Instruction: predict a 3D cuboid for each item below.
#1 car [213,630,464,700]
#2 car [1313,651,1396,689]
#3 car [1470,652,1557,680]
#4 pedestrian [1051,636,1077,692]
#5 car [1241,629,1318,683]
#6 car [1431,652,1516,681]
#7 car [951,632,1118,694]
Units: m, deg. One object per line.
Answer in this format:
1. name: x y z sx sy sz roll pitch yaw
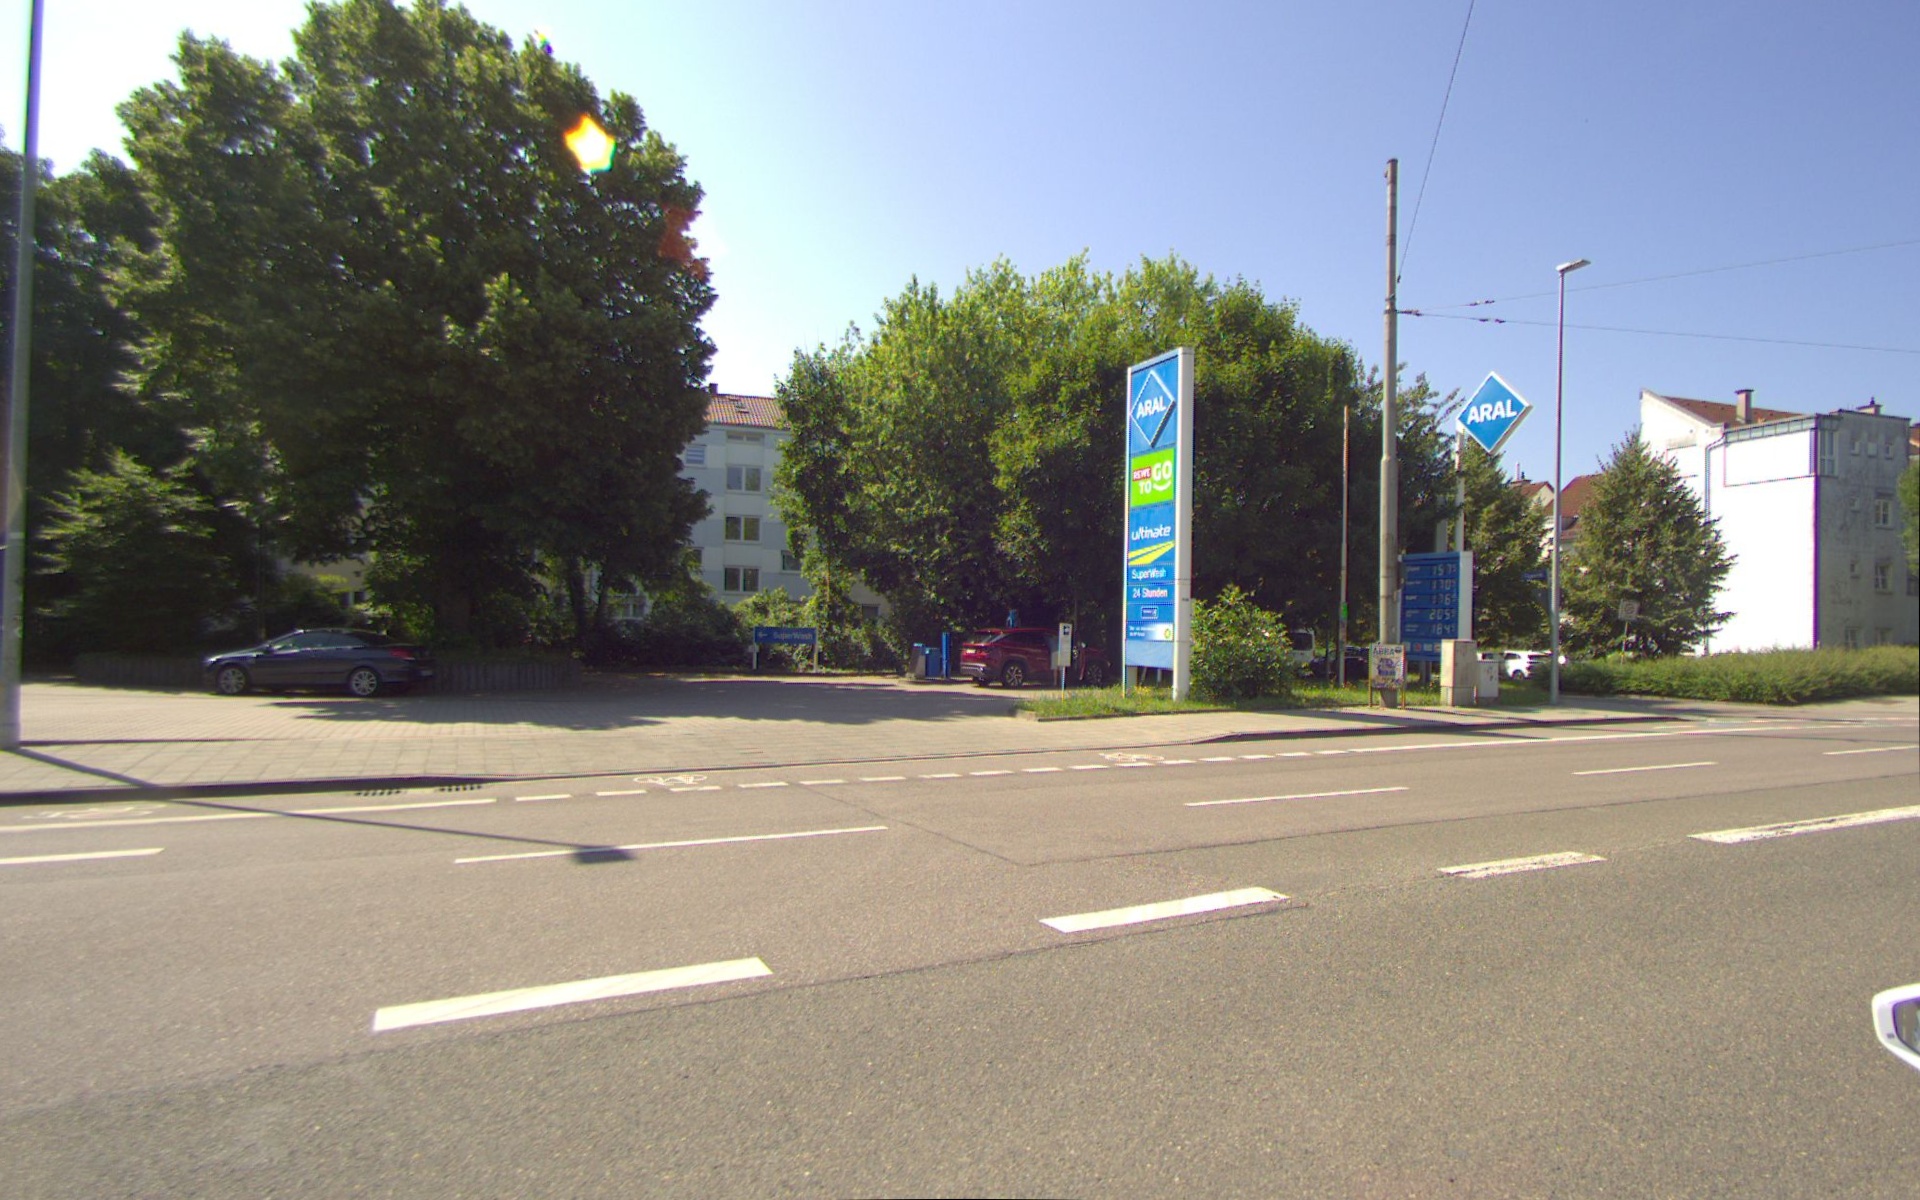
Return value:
1. car: -13.181 1.372 21.529 4.162 1.363 1.805 1 -2 -4
2. car: 17.251 3.032 44.093 1.633 1.503 3.601 2 -2 -14
3. car: 26.694 3.166 48.554 1.549 1.221 3.650 2 -2 -16
4. pedestrian: 2.882 1.764 27.801 0.494 1.500 0.497 2 -2 -27
5. car: 15.848 2.752 50.029 1.758 2.571 4.176 2 -2 -14
6. car: 24.485 3.162 48.012 1.549 1.221 3.650 2 -2 -16
7. car: 2.114 1.710 28.261 4.460 1.591 1.793 1 -1 -28
